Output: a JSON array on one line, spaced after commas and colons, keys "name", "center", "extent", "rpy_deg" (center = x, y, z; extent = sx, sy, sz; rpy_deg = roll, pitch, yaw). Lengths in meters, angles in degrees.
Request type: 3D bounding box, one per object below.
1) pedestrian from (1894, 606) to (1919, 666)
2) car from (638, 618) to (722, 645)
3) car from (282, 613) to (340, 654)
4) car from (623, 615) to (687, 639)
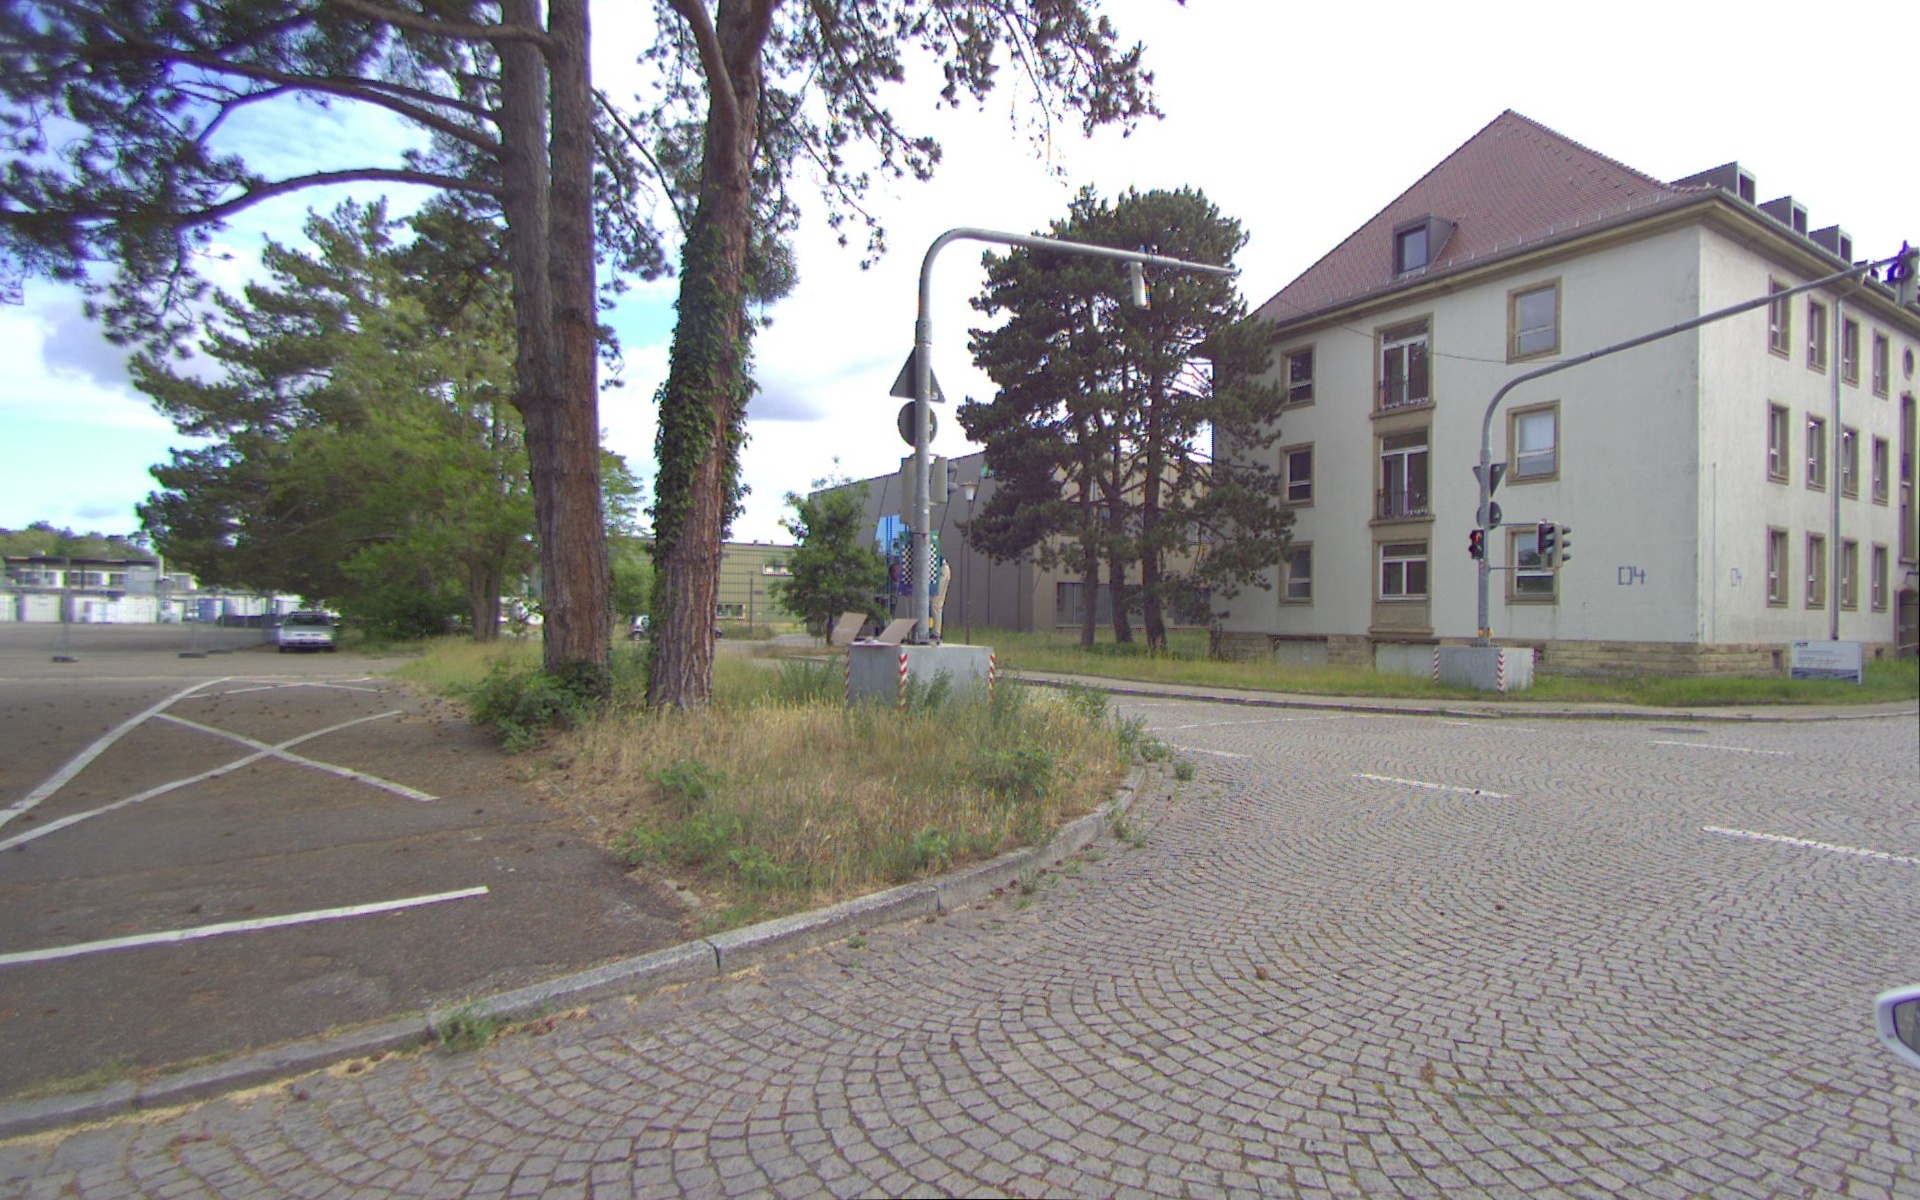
[{"name": "pedestrian", "center": [33.232, 1.234, 34.757], "extent": [1.009, 2.040, 1.083], "rpy_deg": [1, -1, -27]}, {"name": "car", "center": [-16.394, 1.813, 58.869], "extent": [4.409, 1.449, 1.983], "rpy_deg": [-1, 0, -32]}, {"name": "car", "center": [-23.629, 1.175, 36.513], "extent": [1.680, 1.410, 3.962], "rpy_deg": [1, -1, -34]}, {"name": "car", "center": [-19.862, 1.765, 65.427], "extent": [3.618, 1.449, 1.983], "rpy_deg": [-1, 0, -32]}]
